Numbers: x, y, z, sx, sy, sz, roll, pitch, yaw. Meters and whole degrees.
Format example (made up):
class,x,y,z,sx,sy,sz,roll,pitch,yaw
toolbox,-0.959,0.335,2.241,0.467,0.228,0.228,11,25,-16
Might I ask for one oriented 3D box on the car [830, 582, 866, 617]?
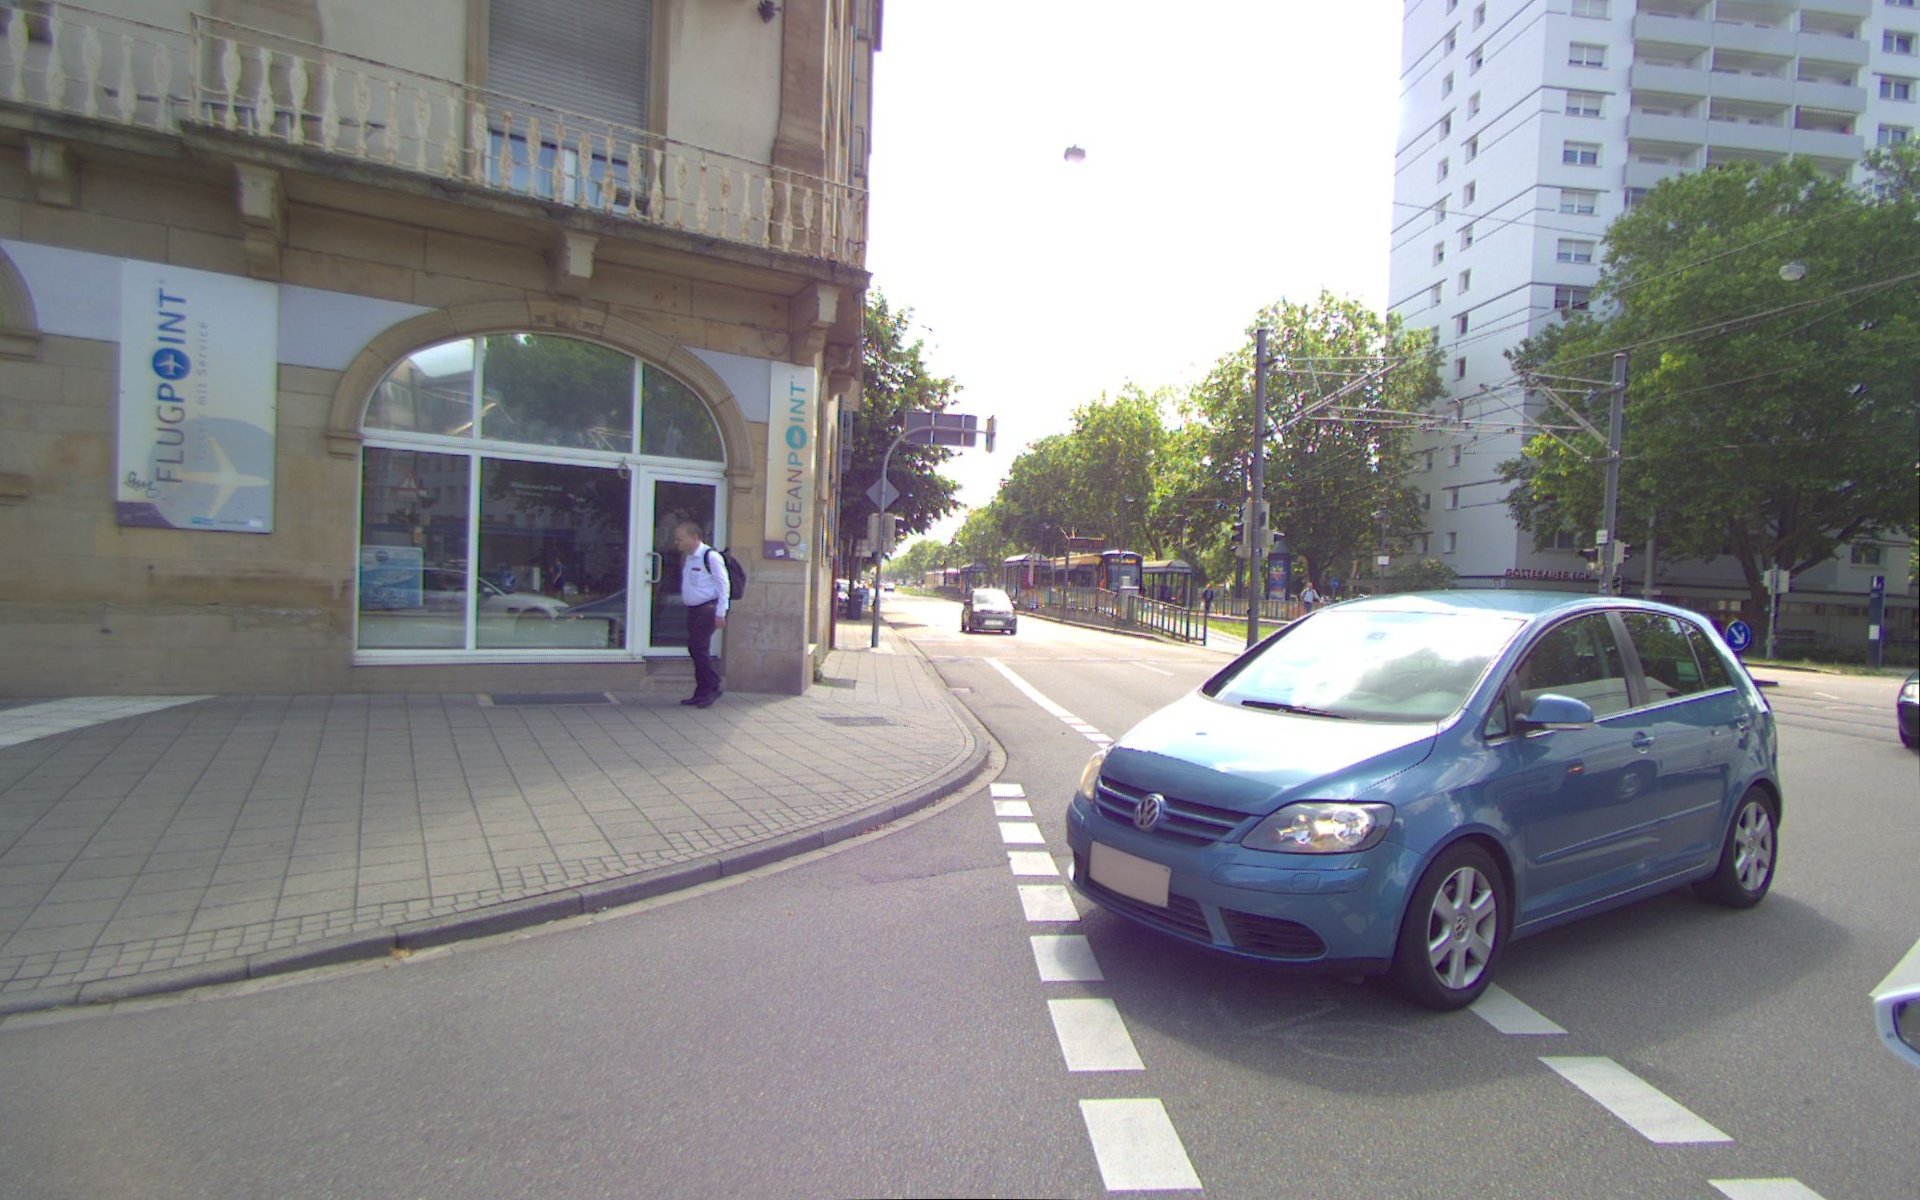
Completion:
class,x,y,z,sx,sy,sz,roll,pitch,yaw
car,-5.489,-0.060,48.869,1.628,1.600,3.472,2,1,-8

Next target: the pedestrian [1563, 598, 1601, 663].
class,x,y,z,sx,sy,sz,roll,pitch,yaw
pedestrian,16.709,0.810,26.978,0.613,1.688,0.676,2,1,13

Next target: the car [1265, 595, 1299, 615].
class,x,y,z,sx,sy,sz,roll,pitch,yaw
car,32.771,0.473,102.301,1.778,1.839,4.336,2,1,-4

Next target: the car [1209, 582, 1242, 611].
class,x,y,z,sx,sy,sz,roll,pitch,yaw
car,27.233,-0.356,103.095,1.779,2.812,4.274,2,1,-6

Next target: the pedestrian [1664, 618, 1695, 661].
class,x,y,z,sx,sy,sz,roll,pitch,yaw
pedestrian,28.026,1.536,39.129,0.525,1.620,0.783,2,1,-8

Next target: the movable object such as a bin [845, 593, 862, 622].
class,x,y,z,sx,sy,sz,roll,pitch,yaw
movable object such as a bin,-4.221,0.286,39.841,0.582,1.133,0.786,2,1,-11

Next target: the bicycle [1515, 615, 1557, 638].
class,x,y,z,sx,sy,sz,roll,pitch,yaw
bicycle,28.644,1.296,49.945,1.695,1.023,0.534,3,1,22

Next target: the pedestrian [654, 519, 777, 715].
class,x,y,z,sx,sy,sz,roll,pitch,yaw
pedestrian,-2.512,0.173,10.279,0.895,1.884,0.798,5,1,-30

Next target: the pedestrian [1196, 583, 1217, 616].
class,x,y,z,sx,sy,sz,roll,pitch,yaw
pedestrian,13.911,-0.023,56.771,0.844,1.798,0.876,2,1,-6

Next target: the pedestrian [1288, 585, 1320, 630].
class,x,y,z,sx,sy,sz,roll,pitch,yaw
pedestrian,14.222,0.293,41.536,0.835,1.804,1.044,2,1,-5

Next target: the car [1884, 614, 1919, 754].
class,x,y,z,sx,sy,sz,roll,pitch,yaw
car,11.881,0.917,11.025,3.778,1.452,1.703,1,0,-34

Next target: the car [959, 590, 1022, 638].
class,x,y,z,sx,sy,sz,roll,pitch,yaw
car,0.985,0.424,34.159,1.608,1.458,3.639,2,1,-7

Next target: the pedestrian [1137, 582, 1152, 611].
class,x,y,z,sx,sy,sz,roll,pitch,yaw
pedestrian,12.130,-0.253,65.963,0.690,1.874,0.788,2,1,-6

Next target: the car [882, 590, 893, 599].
class,x,y,z,sx,sy,sz,roll,pitch,yaw
car,-11.562,-0.866,159.901,1.629,1.390,3.473,2,1,-6

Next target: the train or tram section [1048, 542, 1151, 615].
class,x,y,z,sx,sy,sz,roll,pitch,yaw
train or tram section,7.734,-1.202,57.881,2.763,3.632,13.003,3,1,-6

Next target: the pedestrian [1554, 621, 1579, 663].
class,x,y,z,sx,sy,sz,roll,pitch,yaw
pedestrian,16.133,1.125,26.738,0.412,1.077,0.437,3,1,15

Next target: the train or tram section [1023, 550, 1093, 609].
class,x,y,z,sx,sy,sz,roll,pitch,yaw
train or tram section,6.605,-1.387,69.500,2.752,3.632,10.393,3,1,-6

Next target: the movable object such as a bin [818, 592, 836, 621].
class,x,y,z,sx,sy,sz,roll,pitch,yaw
movable object such as a bin,-5.246,0.249,39.584,0.639,1.133,0.786,2,1,-11

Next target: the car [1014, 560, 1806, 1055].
class,x,y,z,sx,sy,sz,roll,pitch,yaw
car,2.352,0.710,4.966,3.889,1.561,1.737,2,-1,-32

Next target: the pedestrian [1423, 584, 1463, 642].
class,x,y,z,sx,sy,sz,roll,pitch,yaw
pedestrian,16.273,0.427,33.859,0.814,1.924,0.845,2,1,-6

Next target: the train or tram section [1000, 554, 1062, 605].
class,x,y,z,sx,sy,sz,roll,pitch,yaw
train or tram section,5.529,-1.643,81.099,2.681,3.632,13.003,3,1,-6
